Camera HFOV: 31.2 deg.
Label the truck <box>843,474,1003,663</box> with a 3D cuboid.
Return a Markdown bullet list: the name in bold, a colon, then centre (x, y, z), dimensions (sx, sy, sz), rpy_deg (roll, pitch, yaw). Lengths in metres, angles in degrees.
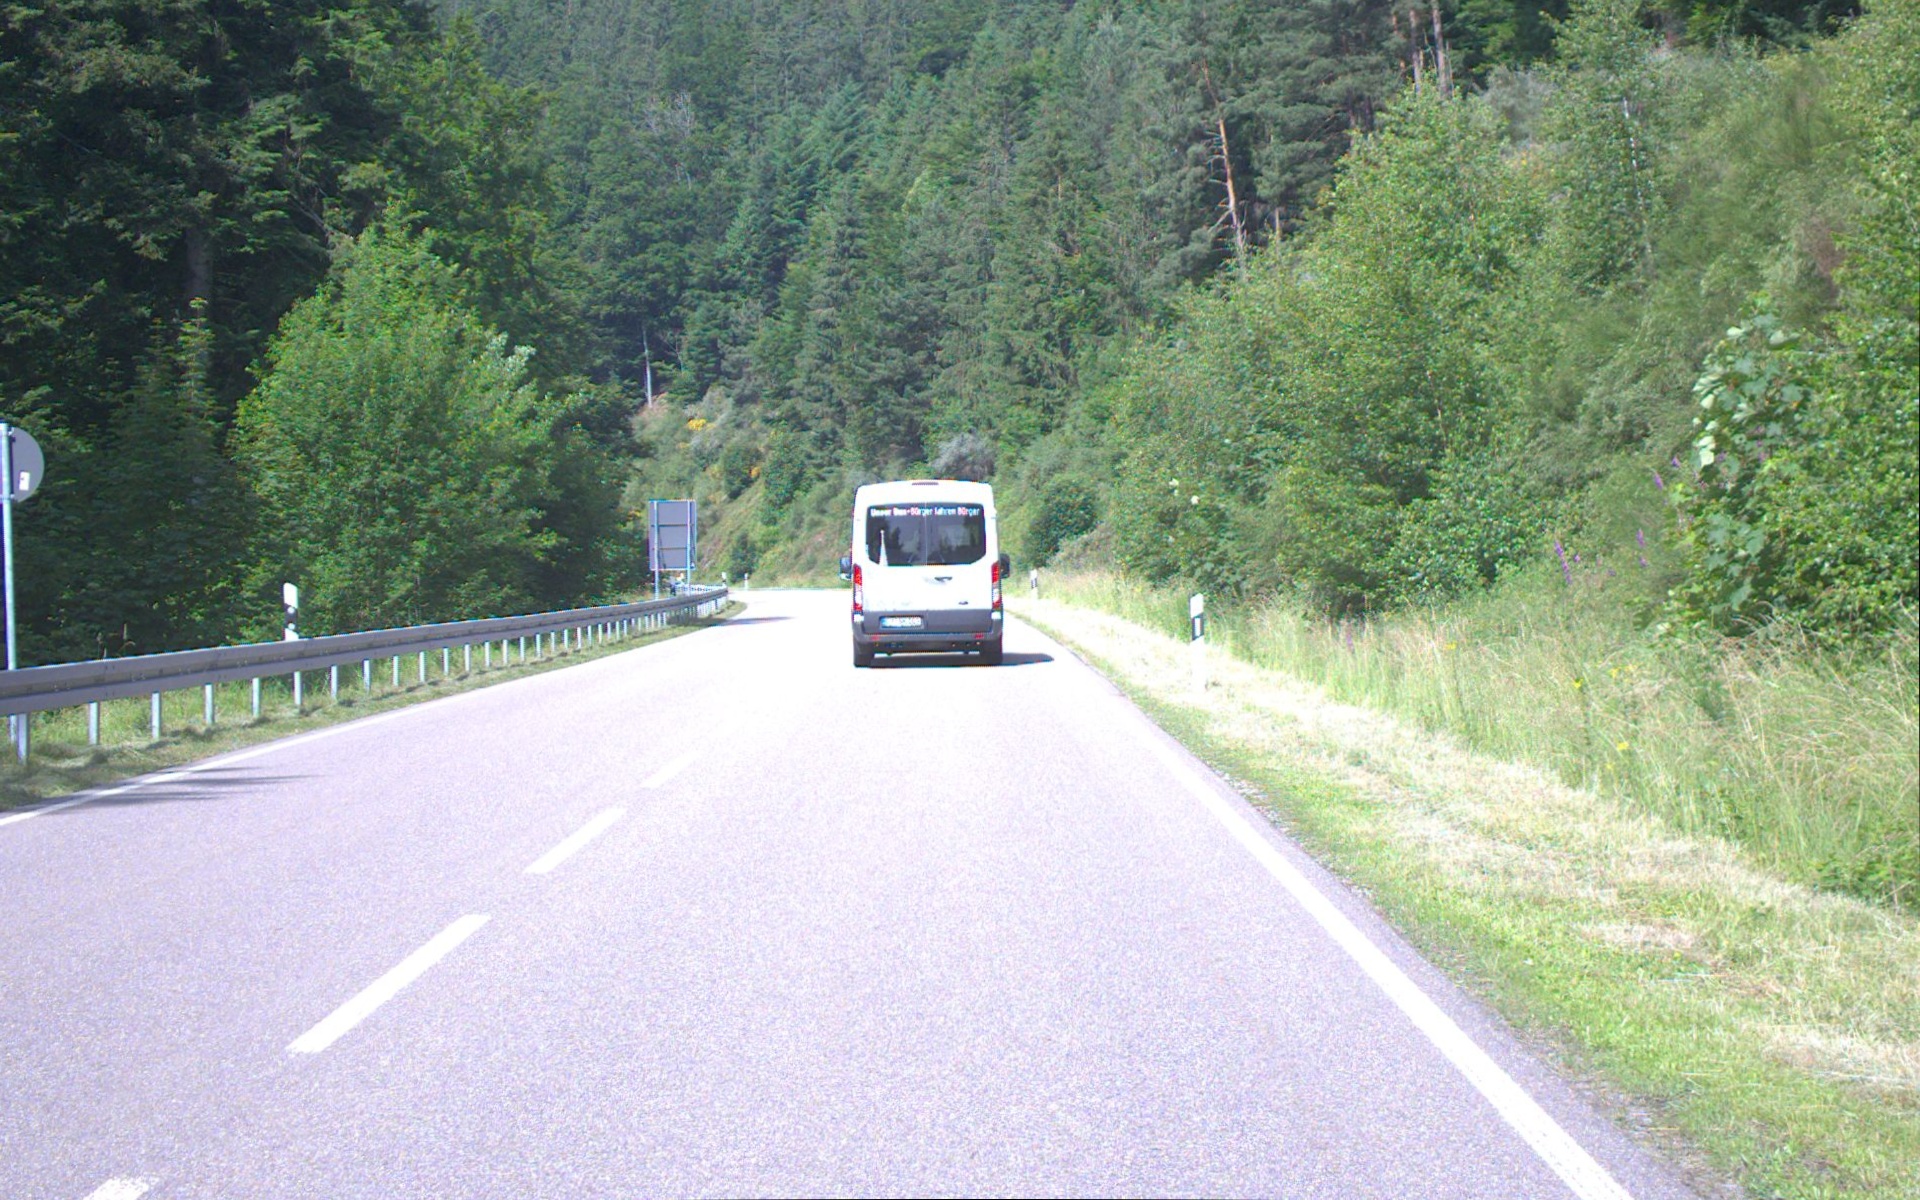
- **truck**: centre (-0.505, -0.428, 47.149), dimensions (2.083, 2.451, 4.875), rpy_deg (0, 0, 0)
